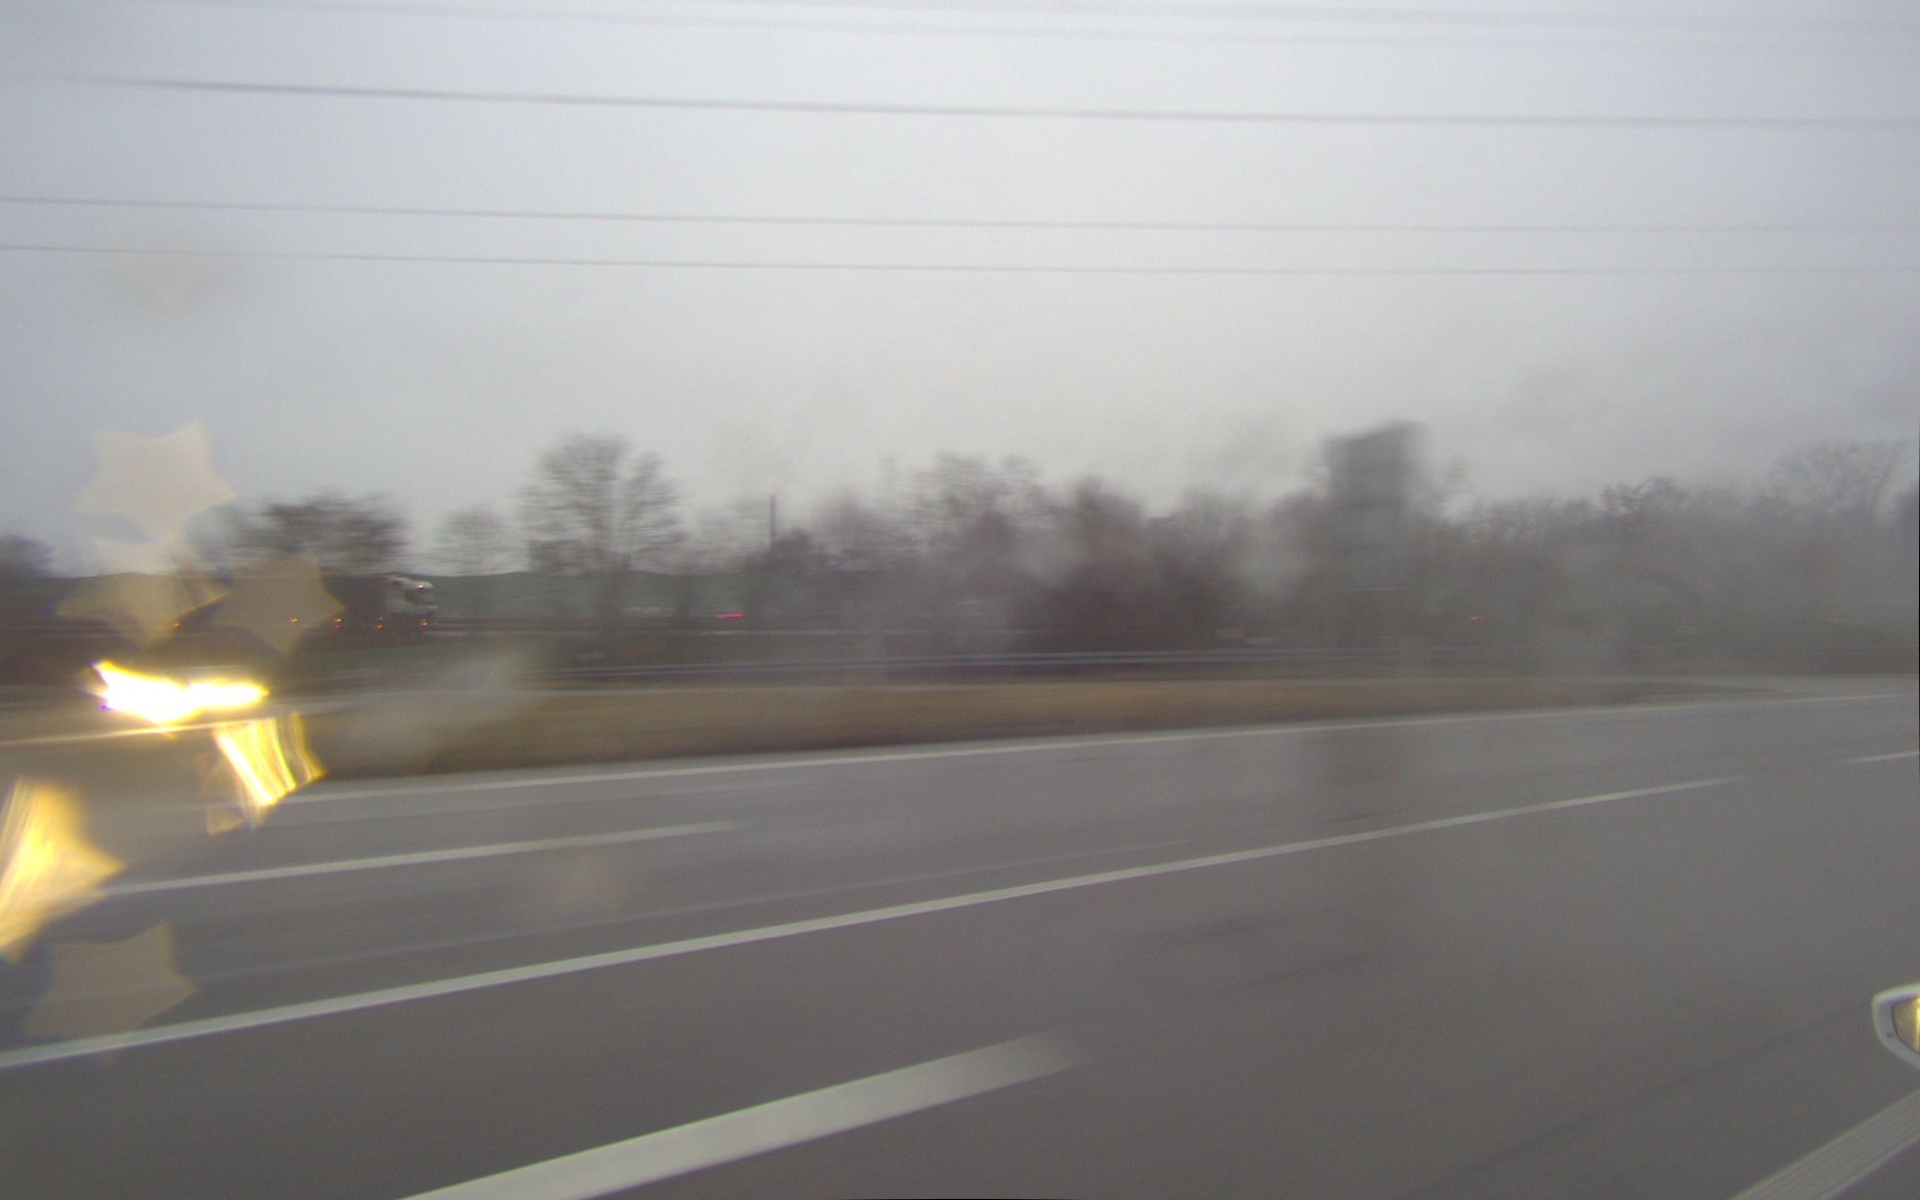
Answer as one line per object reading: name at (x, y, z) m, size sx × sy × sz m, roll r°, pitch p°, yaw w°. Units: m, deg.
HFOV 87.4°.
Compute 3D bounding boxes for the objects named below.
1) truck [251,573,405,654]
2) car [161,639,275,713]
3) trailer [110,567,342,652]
truck at (-43.945, 0.964, 70.085) m, size 8.358 × 5.198 × 3.283 m, roll 2°, pitch 0°, yaw -5°
car at (-19.379, 1.923, 26.411) m, size 1.977 × 1.698 × 4.250 m, roll -1°, pitch -2°, yaw -31°
trailer at (-50.574, 0.686, 69.520) m, size 12.978 × 5.171 × 3.310 m, roll 2°, pitch 0°, yaw -5°
